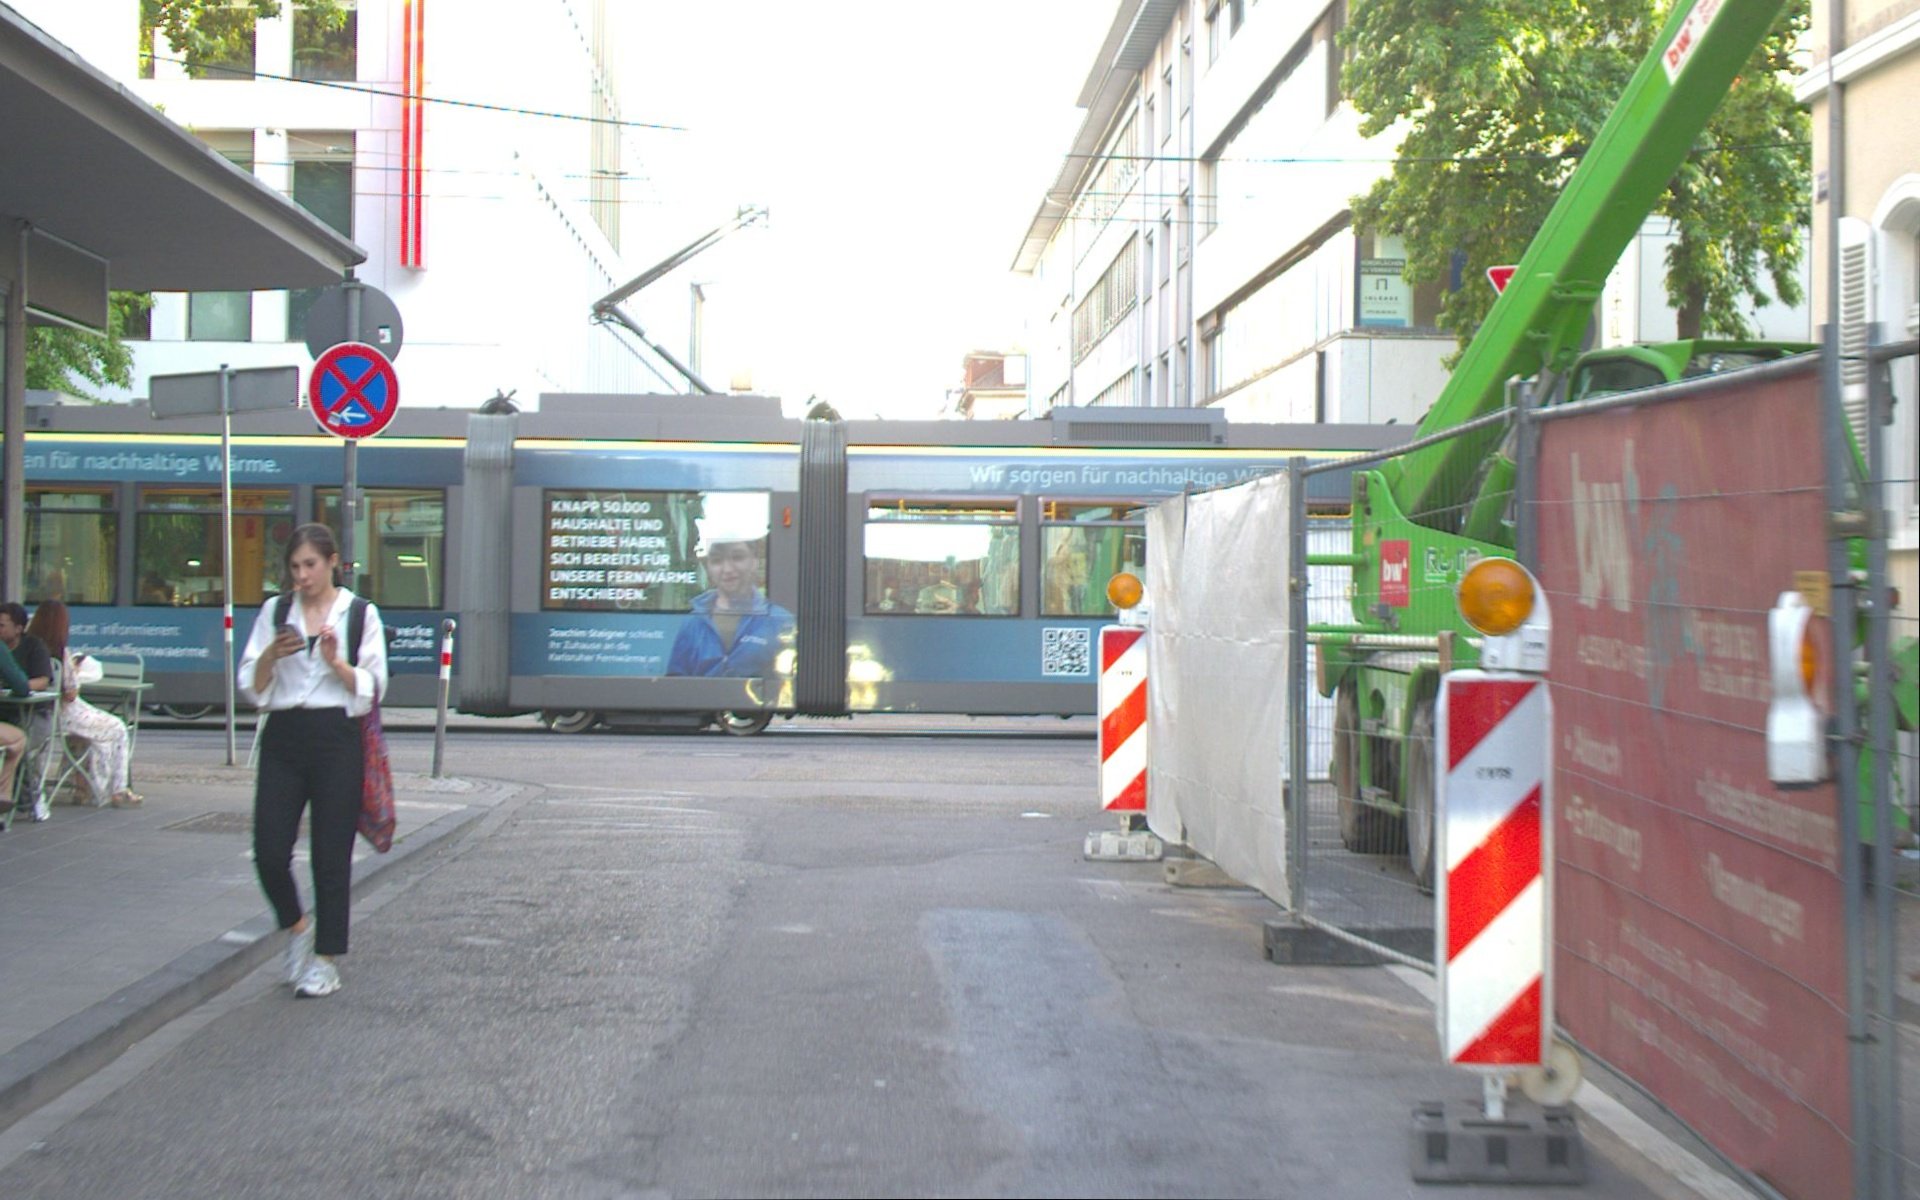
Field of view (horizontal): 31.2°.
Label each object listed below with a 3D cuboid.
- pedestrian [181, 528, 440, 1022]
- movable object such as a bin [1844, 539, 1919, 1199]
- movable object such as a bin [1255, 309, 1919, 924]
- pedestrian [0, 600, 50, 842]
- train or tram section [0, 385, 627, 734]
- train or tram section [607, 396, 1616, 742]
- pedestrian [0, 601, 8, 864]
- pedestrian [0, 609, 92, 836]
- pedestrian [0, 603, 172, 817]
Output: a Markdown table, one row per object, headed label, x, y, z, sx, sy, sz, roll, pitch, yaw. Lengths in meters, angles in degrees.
| label | x | y | z | sx | sy | sz | roll | pitch | yaw |
| --- | --- | --- | --- | --- | --- | --- | --- | --- | --- |
| pedestrian | -2.365 | 0.619 | 12.593 | 0.756 | 1.733 | 0.785 | -2 | 0 | 0 |
| movable object such as a bin | 3.699 | 0.730 | 4.405 | 2.890 | 1.659 | 7.295 | 0 | 1 | -3 |
| movable object such as a bin | 3.364 | 0.053 | 18.869 | 2.635 | 2.863 | 5.566 | 0 | 0 | -4 |
| pedestrian | -5.261 | 0.611 | 17.962 | 0.704 | 1.235 | 0.778 | 4 | 0 | 1 |
| train or tram section | -8.818 | -0.398 | 36.313 | 10.366 | 3.512 | 3.017 | 0 | -1 | -2 |
| train or tram section | 1.525 | -0.296 | 36.660 | 10.335 | 3.512 | 3.027 | 0 | 0 | -2 |
| pedestrian | -5.158 | 0.634 | 16.993 | 0.704 | 1.281 | 0.861 | 1 | 0 | -26 |
| pedestrian | -5.258 | 0.655 | 18.913 | 0.704 | 1.191 | 0.691 | 4 | 0 | 1 |
| pedestrian | -5.205 | 0.634 | 20.212 | 0.705 | 1.215 | 0.840 | 1 | 0 | 35 |
